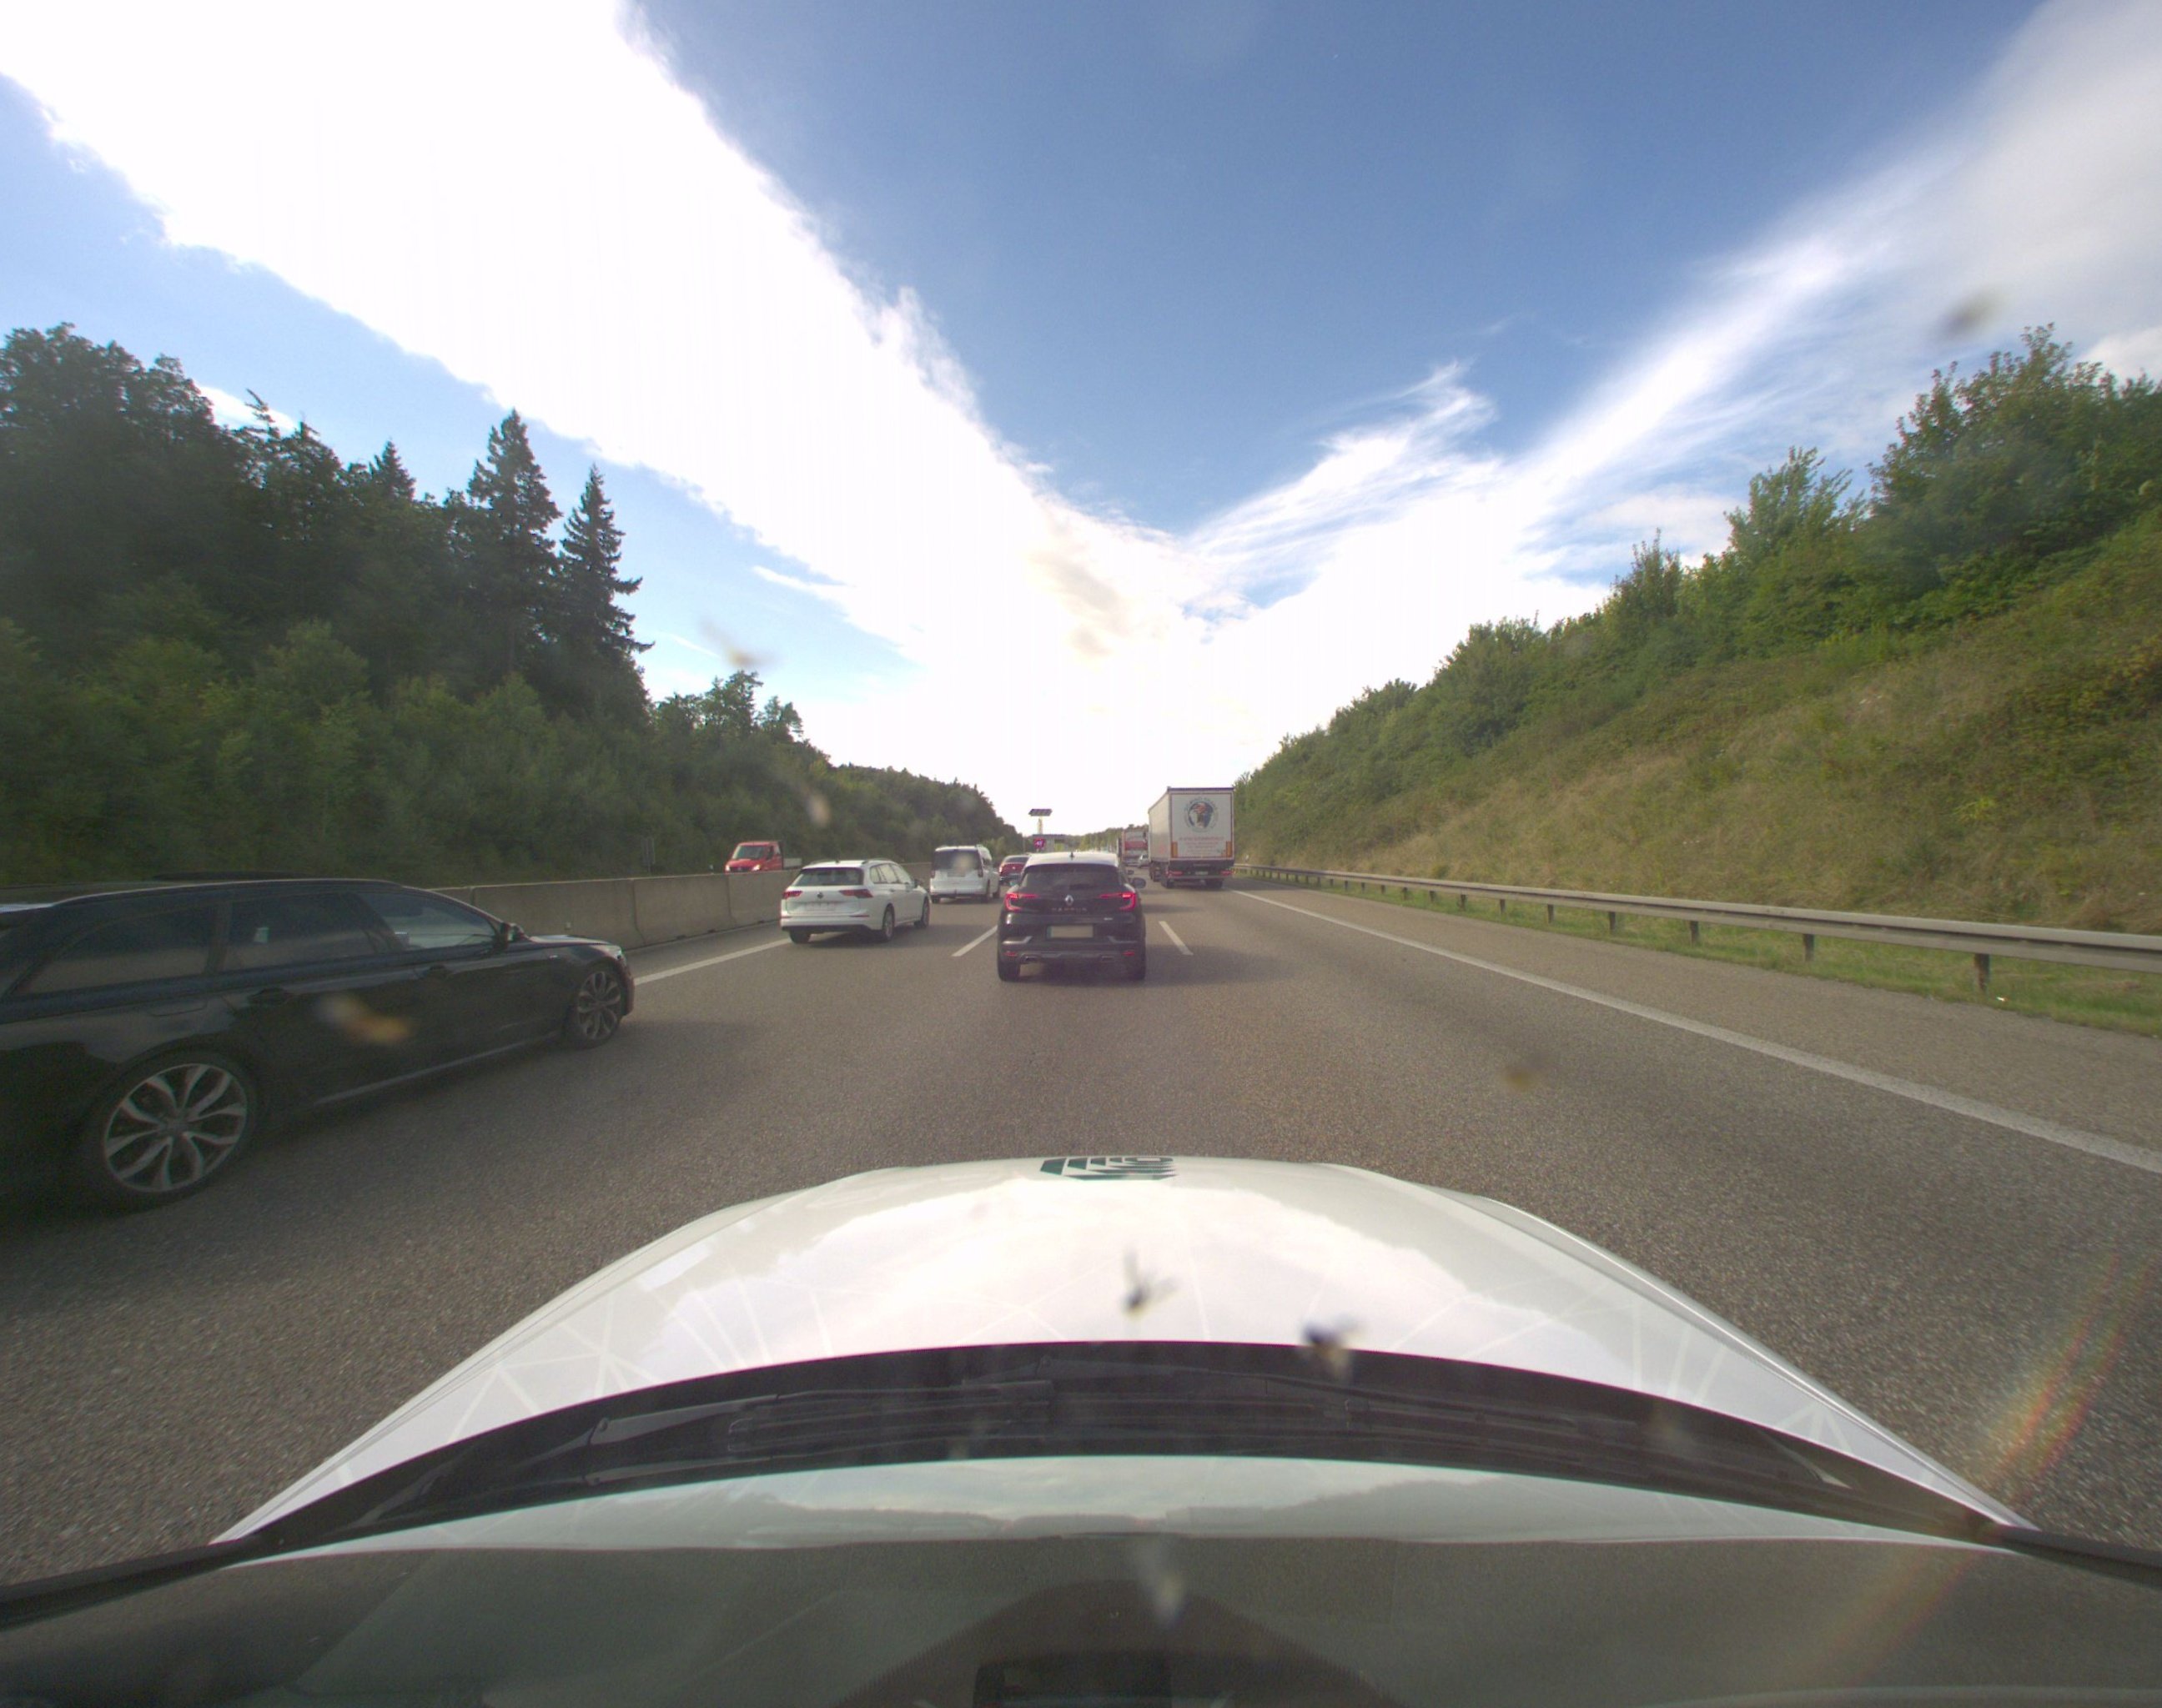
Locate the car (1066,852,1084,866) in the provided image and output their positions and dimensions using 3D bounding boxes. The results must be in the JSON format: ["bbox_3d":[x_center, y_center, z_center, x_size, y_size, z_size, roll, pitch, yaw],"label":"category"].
[{"bbox_3d":[-0.741,0.589,100.367,1.985,1.613,4.003,-1,0,2],"label":"car"}]

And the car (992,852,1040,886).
[{"bbox_3d":[-3.207,0.729,40.868,1.848,1.641,3.928,0,-1,3],"label":"car"}]

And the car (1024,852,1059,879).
[{"bbox_3d":[-2.594,0.743,54.283,1.985,1.722,4.002,0,-1,2],"label":"car"}]

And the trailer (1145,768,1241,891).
[{"bbox_3d":[4.769,-0.948,37.548,2.991,4.661,13.295,-1,0,2],"label":"trailer"}]

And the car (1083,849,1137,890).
[{"bbox_3d":[1.158,0.588,31.863,1.985,1.514,4.002,0,0,2],"label":"car"}]

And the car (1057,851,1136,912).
[{"bbox_3d":[0.481,0.706,22.480,1.985,1.514,4.002,0,0,2],"label":"car"}]

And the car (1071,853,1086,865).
[{"bbox_3d":[-0.328,0.682,112.366,1.985,1.613,4.003,-1,0,2],"label":"car"}]

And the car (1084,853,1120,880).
[{"bbox_3d":[1.259,0.714,47.778,1.985,1.514,4.002,0,0,2],"label":"car"}]

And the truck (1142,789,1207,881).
[{"bbox_3d":[4.999,-0.983,44.694,2.986,4.667,5.942,-1,0,2],"label":"truck"}]

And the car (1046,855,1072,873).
[{"bbox_3d":[-1.970,0.895,73.920,1.985,1.613,4.002,0,-1,2],"label":"car"}]

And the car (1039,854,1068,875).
[{"bbox_3d":[-2.219,0.837,66.385,1.985,1.613,4.002,0,-1,2],"label":"car"}]

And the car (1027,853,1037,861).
[{"bbox_3d":[-10.725,0.685,179.292,1.845,1.810,4.927,0,0,2],"label":"car"}]

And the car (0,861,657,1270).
[{"bbox_3d":[-4.820,0.807,4.931,1.835,1.456,4.751,0,0,2],"label":"car"}]

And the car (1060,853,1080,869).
[{"bbox_3d":[-1.175,0.733,89.054,1.985,1.613,4.003,-1,0,2],"label":"car"}]

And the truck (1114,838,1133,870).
[{"bbox_3d":[7.505,0.062,143.385,3.153,5.505,12.746,0,-1,3],"label":"truck"}]

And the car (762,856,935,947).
[{"bbox_3d":[-4.171,0.785,15.393,1.797,1.461,4.312,-1,0,3],"label":"car"}]

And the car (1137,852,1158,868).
[{"bbox_3d":[6.340,0.563,78.203,1.798,1.533,3.926,0,-1,1],"label":"car"}]

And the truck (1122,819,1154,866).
[{"bbox_3d":[6.417,-1.148,93.838,3.351,5.044,12.746,0,-1,3],"label":"truck"}]

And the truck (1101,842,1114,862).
[{"bbox_3d":[7.112,-0.375,218.569,3.153,5.159,12.746,0,-1,3],"label":"truck"}]

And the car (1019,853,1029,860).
[{"bbox_3d":[-14.415,0.593,206.384,1.845,1.810,4.927,0,0,2],"label":"car"}]

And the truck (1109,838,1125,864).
[{"bbox_3d":[8.163,-0.628,184.412,3.152,5.505,12.751,0,-1,4],"label":"truck"}]

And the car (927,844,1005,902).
[{"bbox_3d":[-3.749,0.598,27.260,1.905,1.789,4.418,0,-1,1],"label":"car"}]

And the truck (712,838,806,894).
[{"bbox_3d":[-17.610,0.602,44.998,2.413,2.855,6.433,0,0,2],"label":"truck"}]

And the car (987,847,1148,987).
[{"bbox_3d":[-0.001,0.720,11.192,1.796,1.552,4.005,-1,0,4],"label":"car"}]
